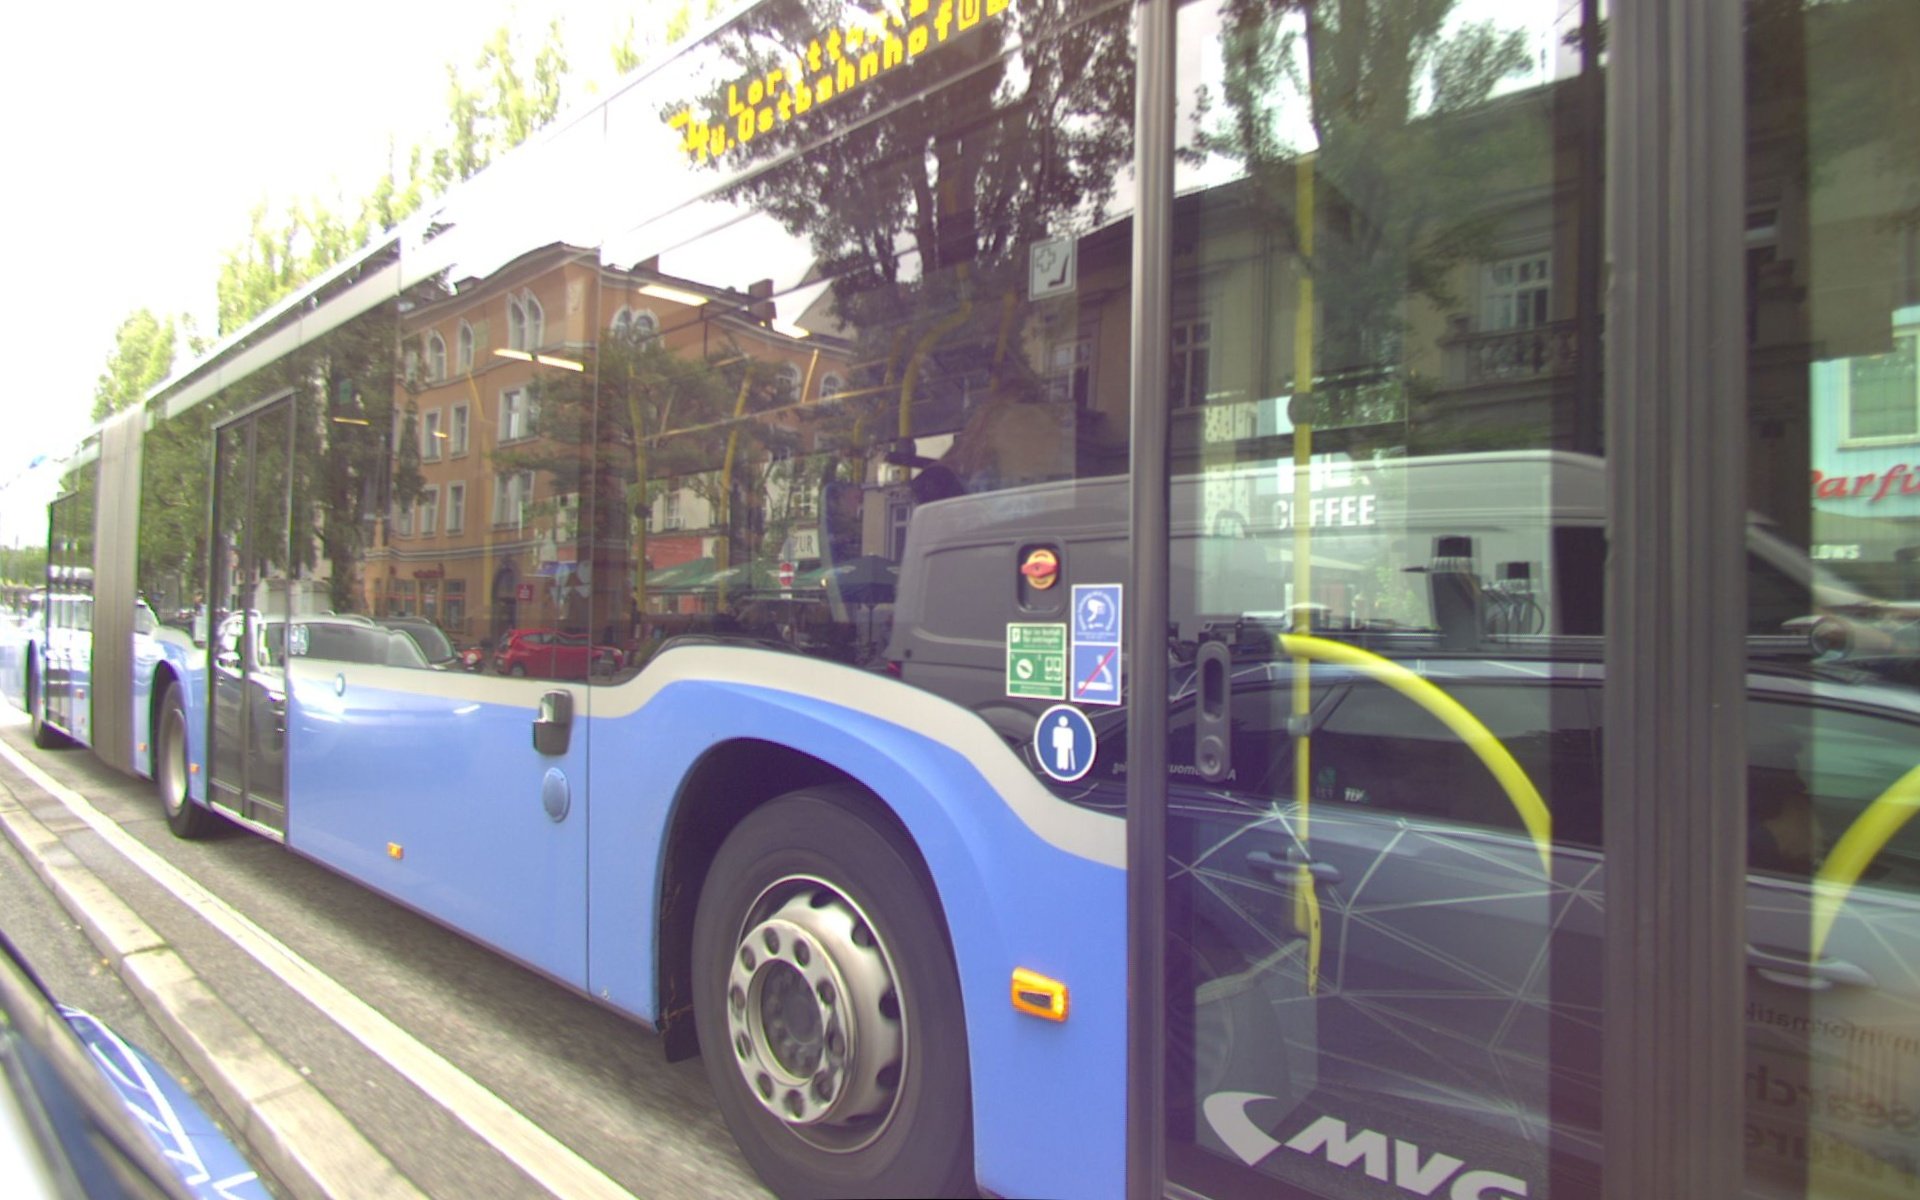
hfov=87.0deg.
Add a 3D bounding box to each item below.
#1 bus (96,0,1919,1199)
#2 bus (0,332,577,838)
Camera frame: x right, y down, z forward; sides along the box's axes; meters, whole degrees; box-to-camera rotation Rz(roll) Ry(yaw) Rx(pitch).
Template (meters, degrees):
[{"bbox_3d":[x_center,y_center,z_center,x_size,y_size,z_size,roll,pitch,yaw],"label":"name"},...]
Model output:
[{"bbox_3d":[-1.184,-0.112,4.585,10.047,2.972,2.661,-1,-2,41],"label":"bus"},{"bbox_3d":[-7.680,-0.013,10.262,10.047,2.972,2.655,-1,-2,41],"label":"bus"}]
